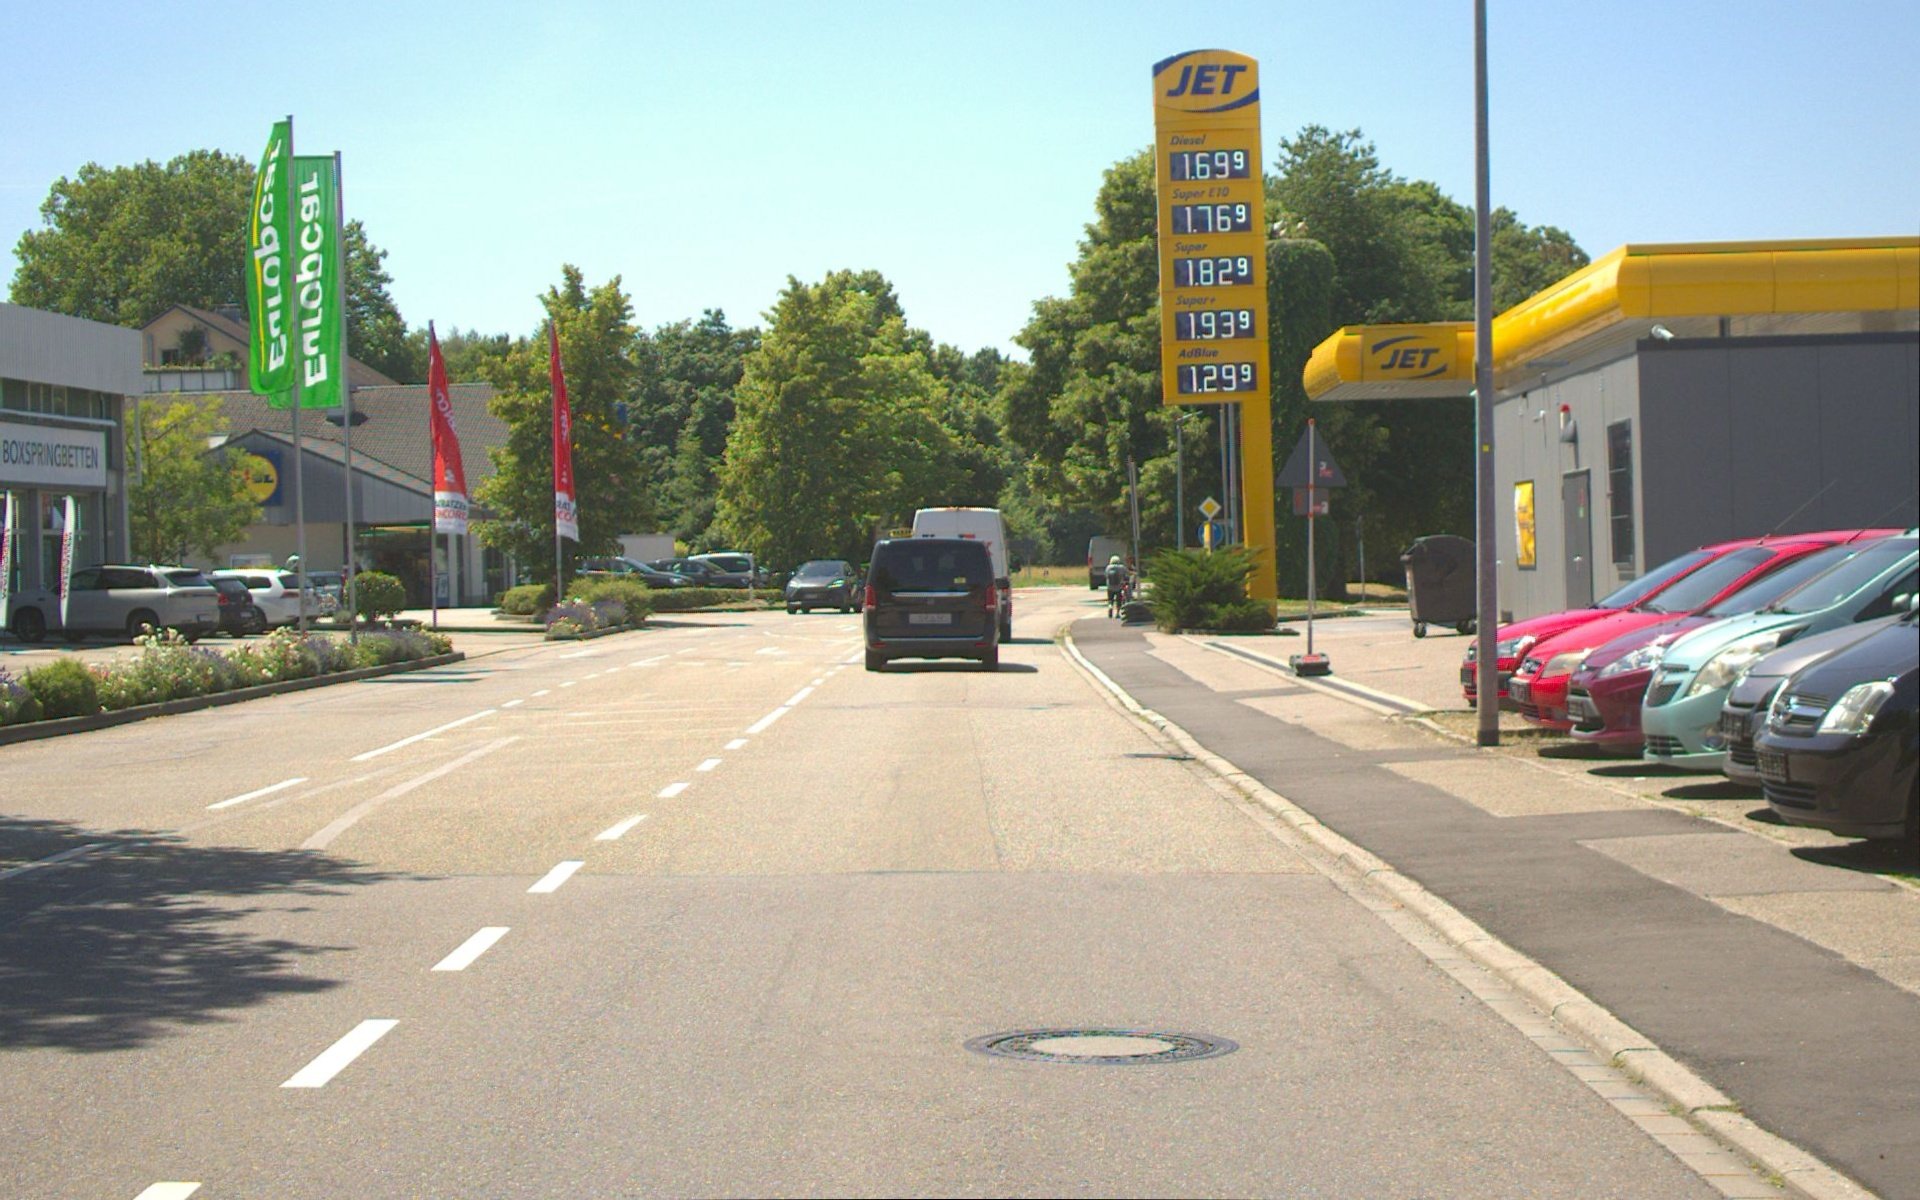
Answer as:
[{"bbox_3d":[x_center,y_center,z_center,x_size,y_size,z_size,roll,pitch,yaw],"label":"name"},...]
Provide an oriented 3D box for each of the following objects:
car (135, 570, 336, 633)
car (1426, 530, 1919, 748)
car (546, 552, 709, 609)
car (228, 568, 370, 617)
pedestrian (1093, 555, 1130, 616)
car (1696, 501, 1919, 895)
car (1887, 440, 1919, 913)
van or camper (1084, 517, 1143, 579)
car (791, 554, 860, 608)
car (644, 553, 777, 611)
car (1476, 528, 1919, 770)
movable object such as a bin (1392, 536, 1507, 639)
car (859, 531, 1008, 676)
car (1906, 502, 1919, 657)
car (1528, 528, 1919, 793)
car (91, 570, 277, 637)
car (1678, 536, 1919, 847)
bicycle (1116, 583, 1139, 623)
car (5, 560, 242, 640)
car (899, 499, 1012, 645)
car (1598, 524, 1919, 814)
[{"bbox_3d":[-17.110,0.028,81.241,4.187,1.441,1.978,0,1,17],"label":"car"},{"bbox_3d":[5.952,0.274,27.109,4.224,1.529,1.958,-2,1,-1],"label":"car"},{"bbox_3d":[-10.360,-0.601,107.306,4.709,1.756,2.097,0,0,9],"label":"car"},{"bbox_3d":[-21.883,-0.252,113.872,4.312,1.524,1.828,-1,1,1],"label":"car"},{"bbox_3d":[3.545,-0.344,80.205,0.769,1.416,0.867,0,0,9],"label":"pedestrian"},{"bbox_3d":[5.534,0.349,15.717,3.875,1.675,1.764,-2,1,-3],"label":"car"},{"bbox_3d":[6.019,0.289,13.622,4.133,1.931,1.808,-1,1,-5],"label":"car"},{"bbox_3d":[7.394,-2.490,165.842,2.632,2.919,5.206,0,0,1],"label":"van or camper"},{"bbox_3d":[-3.950,-0.579,101.634,1.762,1.522,4.138,-2,1,1],"label":"car"},{"bbox_3d":[-8.515,-0.604,117.439,4.356,1.973,1.905,0,0,2],"label":"car"},{"bbox_3d":[5.723,0.313,24.640,3.684,1.561,1.709,-2,1,-3],"label":"car"},{"bbox_3d":[7.161,-0.189,50.416,1.434,1.433,1.468,-2,1,1],"label":"movable object such as a bin"},{"bbox_3d":[-0.402,0.029,49.333,1.993,1.946,5.005,1,0,-1],"label":"car"},{"bbox_3d":[12.239,-0.241,36.322,3.987,1.651,1.947,-1,0,3],"label":"car"},{"bbox_3d":[5.734,0.340,22.334,3.684,1.561,1.750,-2,1,-4],"label":"car"},{"bbox_3d":[-17.699,0.068,78.455,3.629,1.469,1.998,0,1,19],"label":"car"},{"bbox_3d":[5.859,0.398,17.980,3.792,1.504,1.833,-2,1,1],"label":"car"},{"bbox_3d":[3.910,0.058,80.067,0.378,0.909,1.597,0,1,8],"label":"bicycle"},{"bbox_3d":[-17.868,-0.008,73.468,4.534,1.658,1.998,0,1,19],"label":"car"},{"bbox_3d":[-0.079,-0.545,66.844,2.078,2.693,4.666,1,0,0],"label":"car"},{"bbox_3d":[5.759,0.336,20.065,3.684,1.561,1.642,-2,1,-2],"label":"car"}]
